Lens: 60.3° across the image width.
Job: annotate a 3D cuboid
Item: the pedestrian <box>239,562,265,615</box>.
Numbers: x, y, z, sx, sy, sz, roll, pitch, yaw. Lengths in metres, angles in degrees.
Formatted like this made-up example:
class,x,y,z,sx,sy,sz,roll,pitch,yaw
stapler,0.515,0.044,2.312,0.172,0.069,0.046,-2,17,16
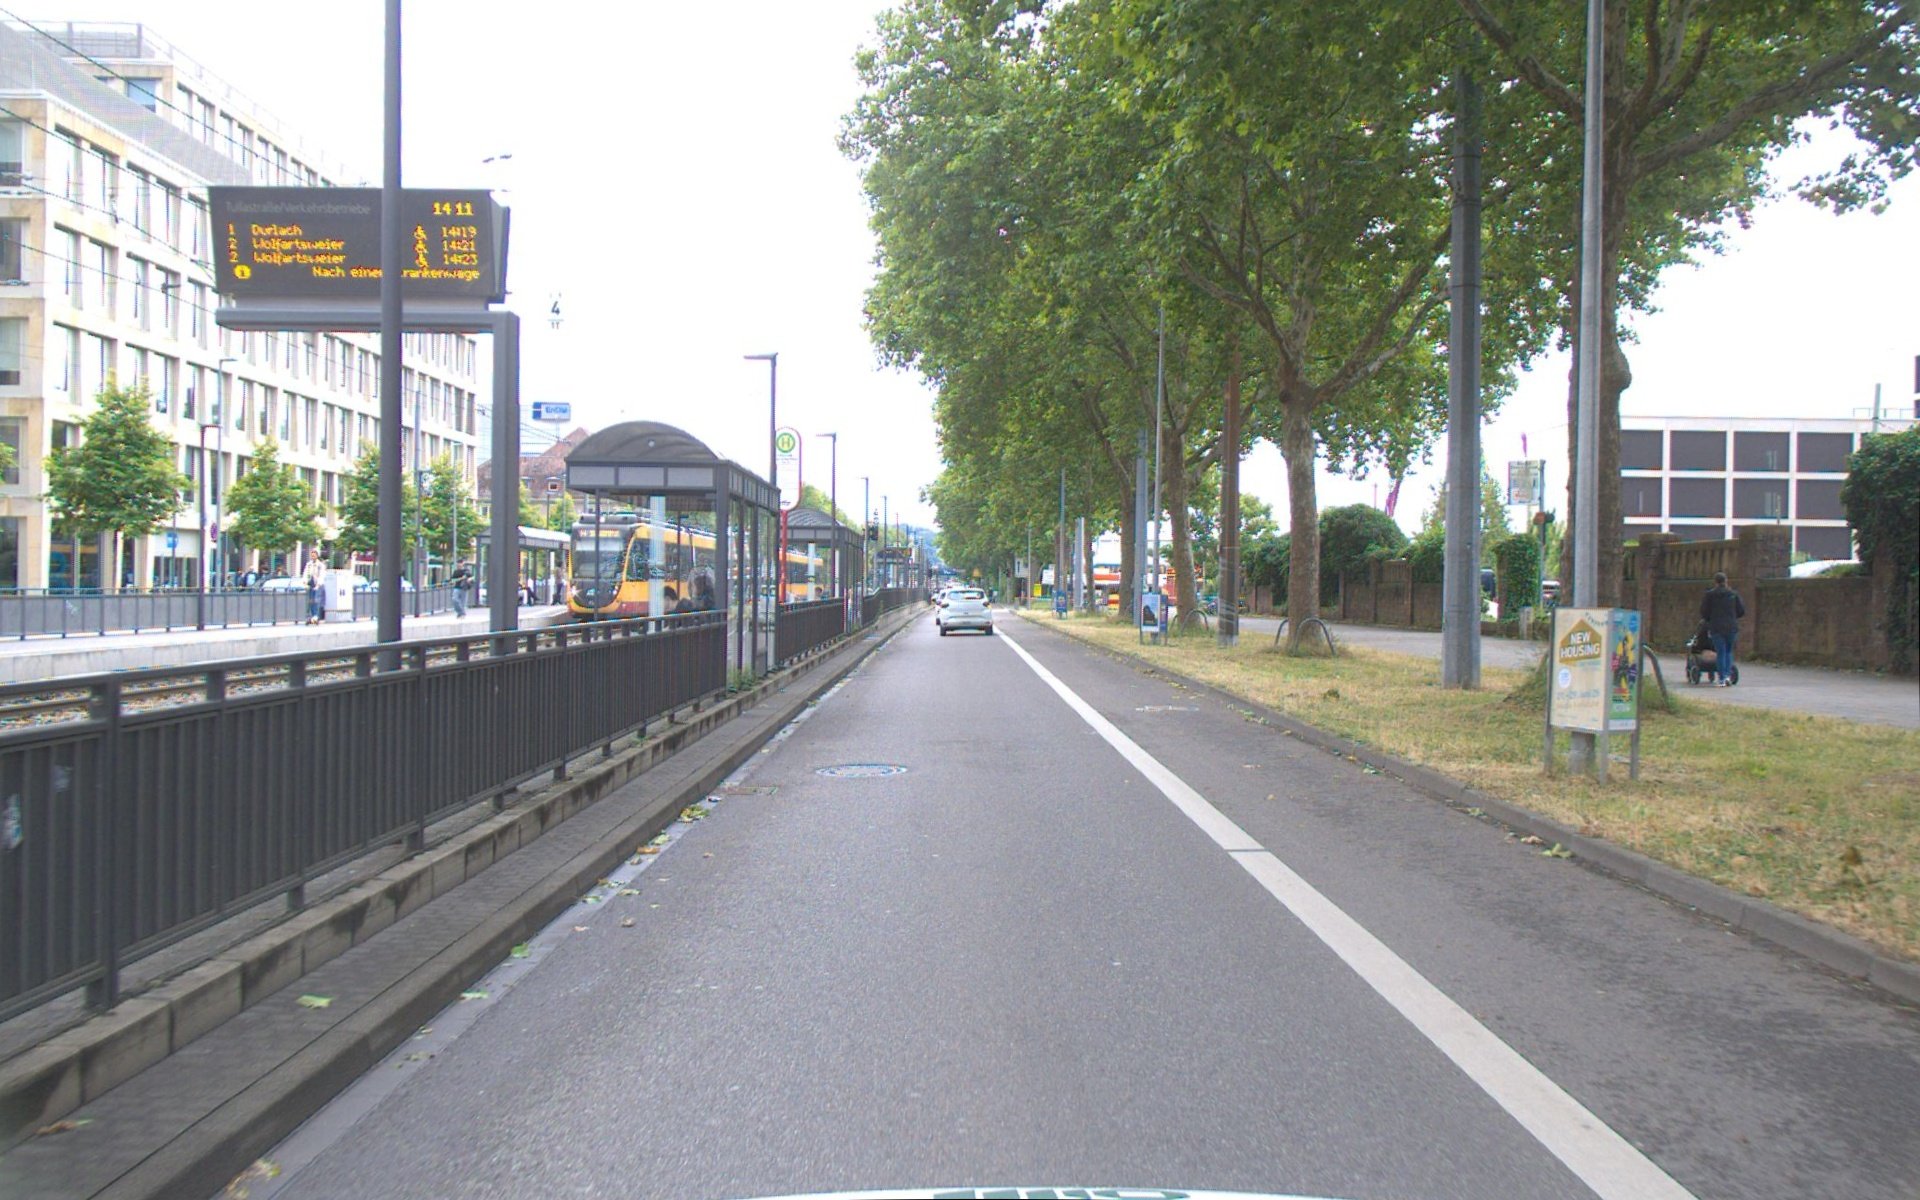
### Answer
class,x,y,z,sx,sy,sz,roll,pitch,yaw
pedestrian,-27.721,-0.437,64.785,0.698,2.049,0.725,0,0,-1

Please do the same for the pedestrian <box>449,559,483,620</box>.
class,x,y,z,sx,sy,sz,roll,pitch,yaw
pedestrian,-14.982,-0.317,50.174,0.697,1.827,1.160,0,0,-2

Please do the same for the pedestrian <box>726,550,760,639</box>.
class,x,y,z,sx,sy,sz,roll,pitch,yaw
pedestrian,-4.564,-0.114,34.736,0.657,1.825,1.111,0,0,-9

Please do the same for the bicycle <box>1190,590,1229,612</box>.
class,x,y,z,sx,sy,sz,roll,pitch,yaw
bicycle,13.002,0.072,86.213,1.883,1.110,0.549,-1,0,-2

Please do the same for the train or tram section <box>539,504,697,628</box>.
class,x,y,z,sx,sy,sz,roll,pitch,yaw
train or tram section,-11.782,-1.071,58.218,3.171,3.929,11.310,0,0,0

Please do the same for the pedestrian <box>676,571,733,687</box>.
class,x,y,z,sx,sy,sz,roll,pitch,yaw
pedestrian,-3.122,0.347,20.251,0.598,1.396,0.600,0,0,0

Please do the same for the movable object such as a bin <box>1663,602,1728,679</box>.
class,x,y,z,sx,sy,sz,roll,pitch,yaw
movable object such as a bin,11.117,0.598,25.028,0.598,1.131,1.015,0,1,5

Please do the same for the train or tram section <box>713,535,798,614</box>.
class,x,y,z,sx,sy,sz,roll,pitch,yaw
train or tram section,-11.721,-1.364,96.328,3.115,4.252,14.733,0,0,0

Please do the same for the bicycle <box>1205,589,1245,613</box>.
class,x,y,z,sx,sy,sz,roll,pitch,yaw
bicycle,13.078,0.040,81.634,1.862,1.116,0.549,-1,0,-2

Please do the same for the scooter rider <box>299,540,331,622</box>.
class,x,y,z,sx,sy,sz,roll,pitch,yaw
scooter rider,-16.140,-0.469,41.393,0.505,2.044,0.681,0,0,-1

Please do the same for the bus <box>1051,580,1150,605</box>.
class,x,y,z,sx,sy,sz,roll,pitch,yaw
bus,13.219,-0.677,155.511,9.091,2.266,1.999,0,0,-3

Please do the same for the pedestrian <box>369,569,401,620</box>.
class,x,y,z,sx,sy,sz,roll,pitch,yaw
pedestrian,-22.942,-0.217,65.957,0.914,2.049,1.032,0,0,-2

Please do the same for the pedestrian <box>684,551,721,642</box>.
class,x,y,z,sx,sy,sz,roll,pitch,yaw
pedestrian,-5.264,-0.068,33.837,0.658,1.825,1.109,0,0,-13

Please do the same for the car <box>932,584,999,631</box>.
class,x,y,z,sx,sy,sz,roll,pitch,yaw
car,0.230,0.250,54.420,1.845,1.478,4.002,0,0,5

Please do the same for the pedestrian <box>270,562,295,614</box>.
class,x,y,z,sx,sy,sz,roll,pitch,yaw
pedestrian,-26.859,-0.462,65.586,0.698,2.049,0.725,0,0,-1

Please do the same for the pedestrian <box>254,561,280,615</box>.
class,x,y,z,sx,sy,sz,roll,pitch,yaw
pedestrian,-26.830,-0.466,64.010,0.698,2.049,0.725,0,0,-1

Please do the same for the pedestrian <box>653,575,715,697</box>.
class,x,y,z,sx,sy,sz,roll,pitch,yaw
pedestrian,-3.164,0.407,18.964,0.598,1.364,0.600,0,0,0

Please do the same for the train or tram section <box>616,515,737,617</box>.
class,x,y,z,sx,sy,sz,roll,pitch,yaw
train or tram section,-11.744,-1.284,69.618,3.099,3.929,11.310,0,0,0

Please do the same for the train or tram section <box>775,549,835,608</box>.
class,x,y,z,sx,sy,sz,roll,pitch,yaw
train or tram section,-11.687,-1.507,125.817,3.115,4.252,14.733,0,0,0

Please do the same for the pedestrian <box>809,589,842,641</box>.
class,x,y,z,sx,sy,sz,roll,pitch,yaw
pedestrian,-3.457,0.379,42.514,0.818,1.326,0.613,0,0,-2

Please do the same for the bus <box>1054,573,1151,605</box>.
class,x,y,z,sx,sy,sz,roll,pitch,yaw
bus,13.644,-1.032,158.621,9.091,3.011,1.999,0,0,-3

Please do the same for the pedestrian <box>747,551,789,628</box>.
class,x,y,z,sx,sy,sz,roll,pitch,yaw
pedestrian,-5.162,-0.269,44.524,1.037,2.049,0.840,0,0,0

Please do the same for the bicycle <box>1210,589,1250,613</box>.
class,x,y,z,sx,sy,sz,roll,pitch,yaw
bicycle,13.244,0.049,81.061,1.852,1.124,0.549,-1,0,-2

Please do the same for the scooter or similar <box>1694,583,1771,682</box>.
class,x,y,z,sx,sy,sz,roll,pitch,yaw
scooter or similar,11.109,0.458,23.815,0.564,1.378,1.155,0,0,-1

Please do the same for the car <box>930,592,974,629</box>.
class,x,y,z,sx,sy,sz,roll,pitch,yaw
car,-0.323,0.425,72.142,1.803,1.579,4.001,0,0,1

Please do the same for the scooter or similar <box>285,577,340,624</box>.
class,x,y,z,sx,sy,sz,roll,pitch,yaw
scooter or similar,-16.153,0.009,41.320,0.512,1.134,2.226,0,0,-1
